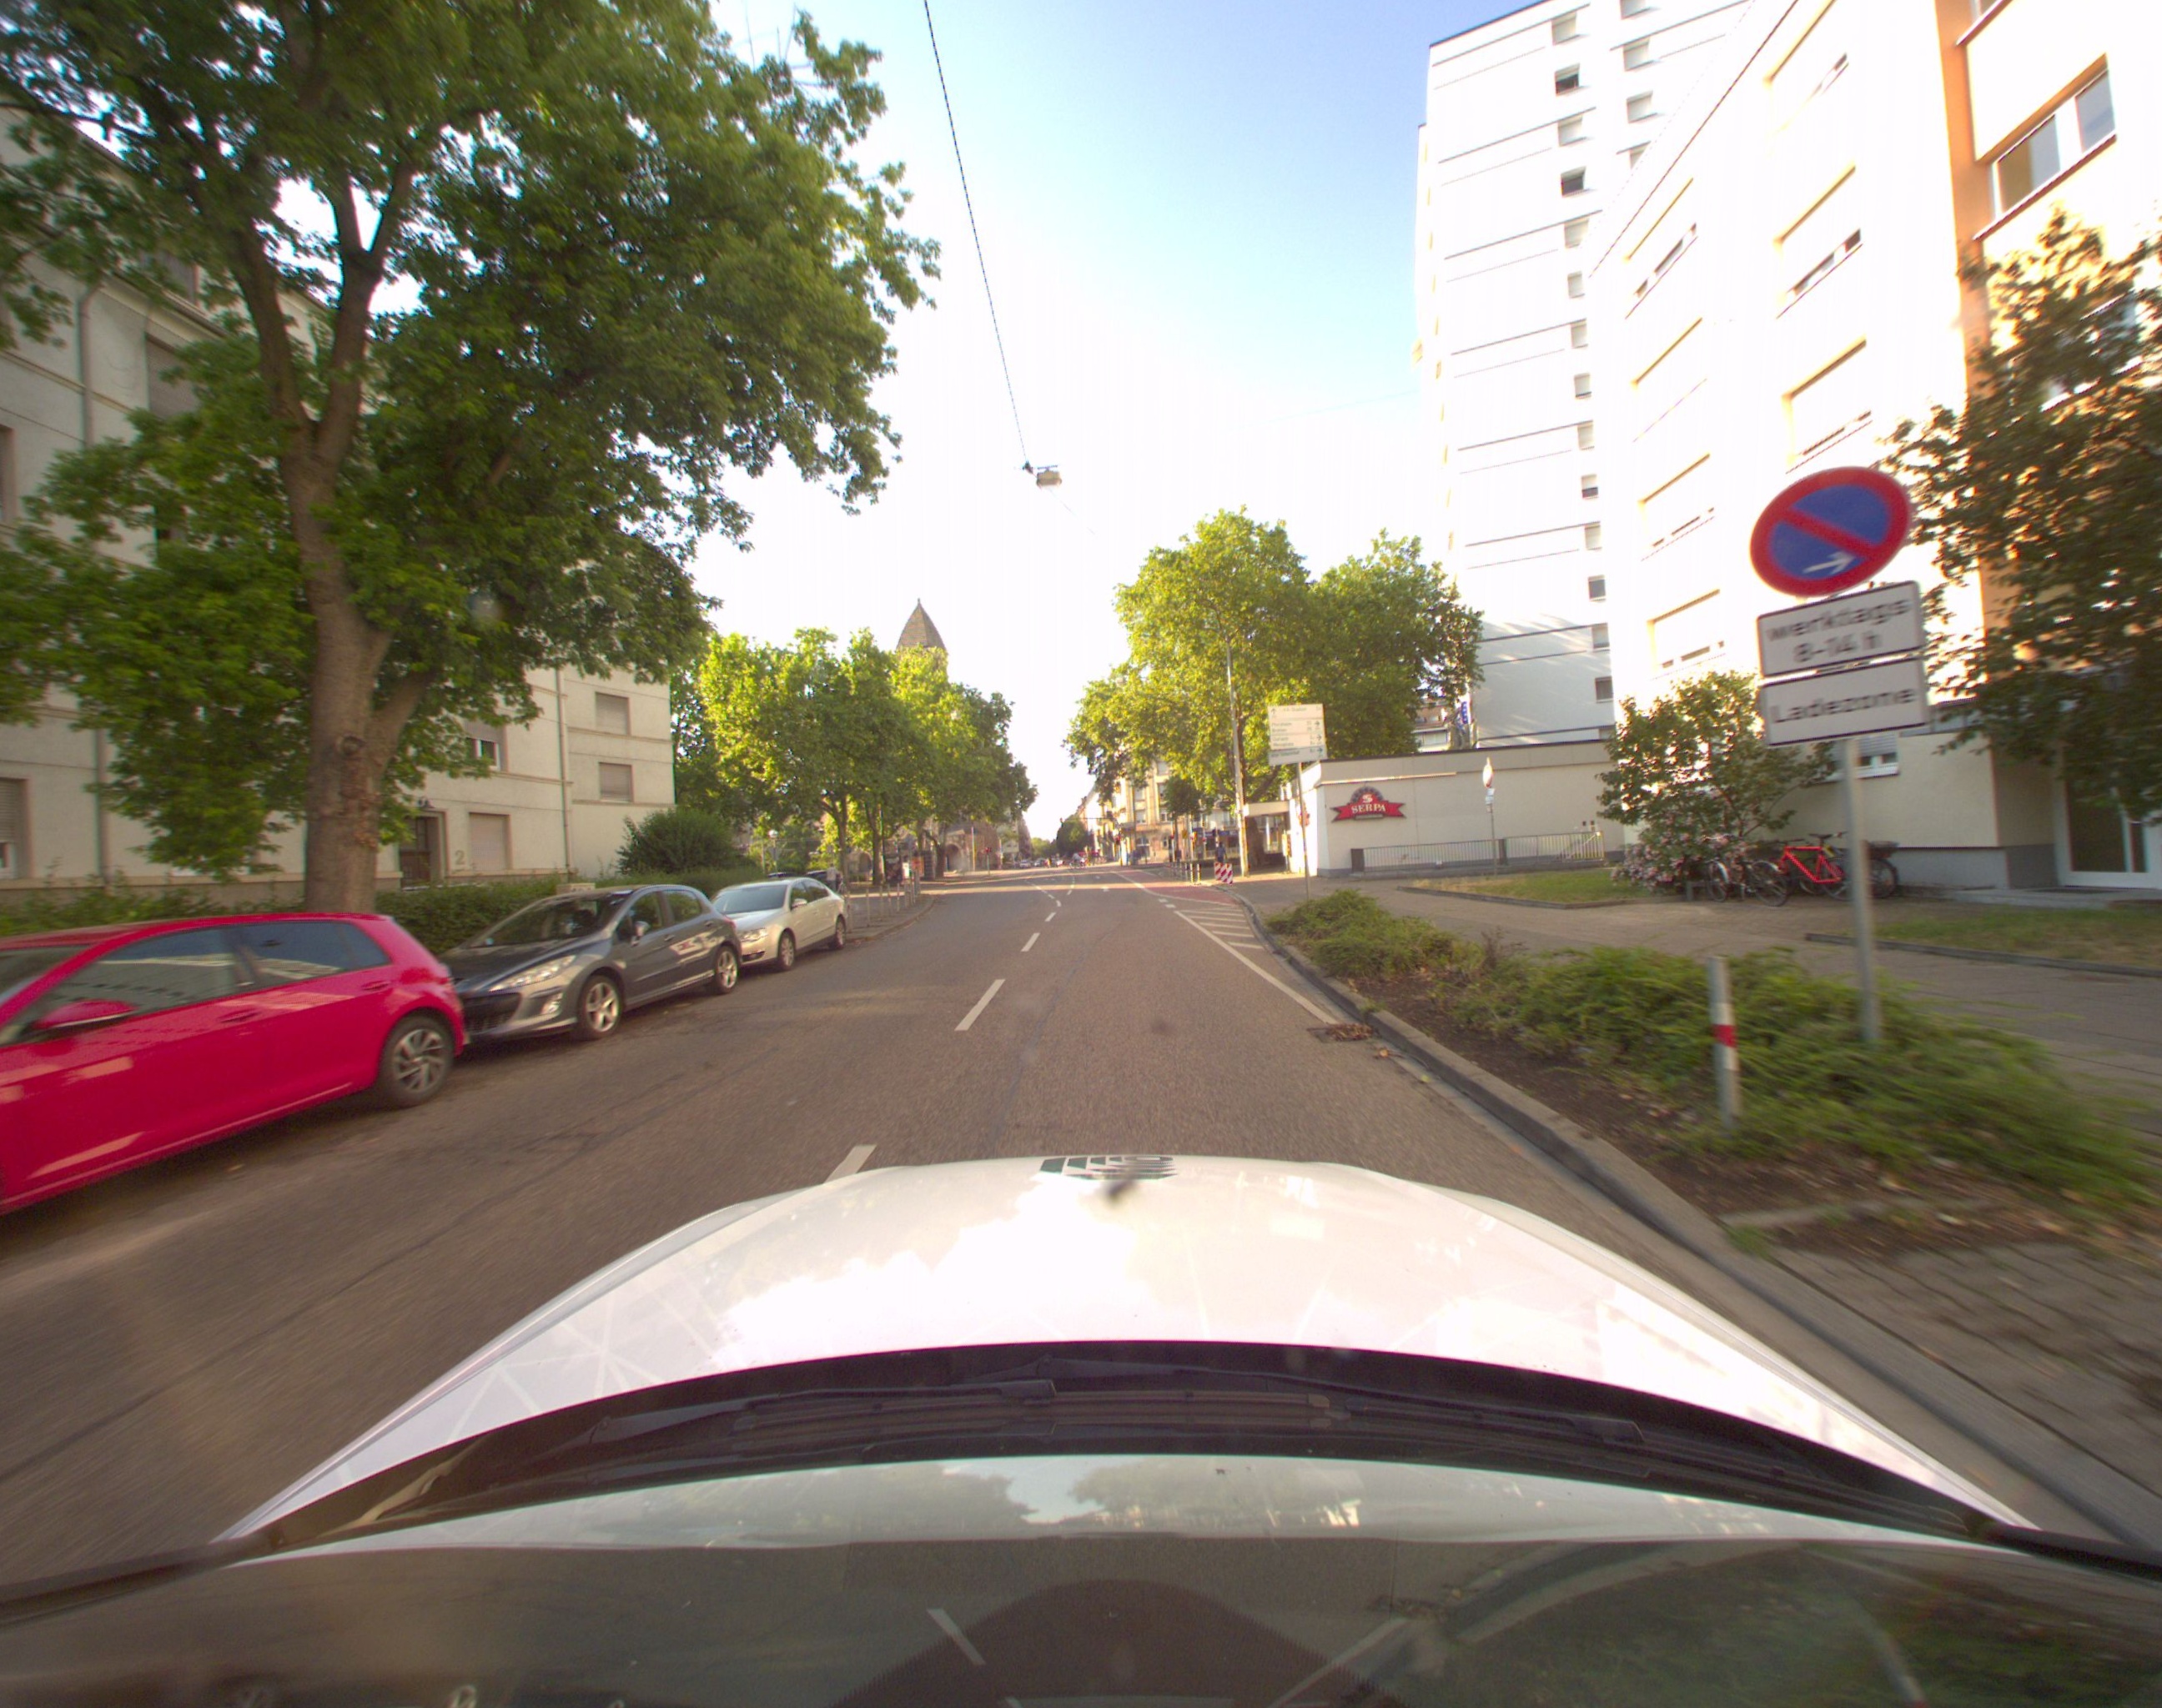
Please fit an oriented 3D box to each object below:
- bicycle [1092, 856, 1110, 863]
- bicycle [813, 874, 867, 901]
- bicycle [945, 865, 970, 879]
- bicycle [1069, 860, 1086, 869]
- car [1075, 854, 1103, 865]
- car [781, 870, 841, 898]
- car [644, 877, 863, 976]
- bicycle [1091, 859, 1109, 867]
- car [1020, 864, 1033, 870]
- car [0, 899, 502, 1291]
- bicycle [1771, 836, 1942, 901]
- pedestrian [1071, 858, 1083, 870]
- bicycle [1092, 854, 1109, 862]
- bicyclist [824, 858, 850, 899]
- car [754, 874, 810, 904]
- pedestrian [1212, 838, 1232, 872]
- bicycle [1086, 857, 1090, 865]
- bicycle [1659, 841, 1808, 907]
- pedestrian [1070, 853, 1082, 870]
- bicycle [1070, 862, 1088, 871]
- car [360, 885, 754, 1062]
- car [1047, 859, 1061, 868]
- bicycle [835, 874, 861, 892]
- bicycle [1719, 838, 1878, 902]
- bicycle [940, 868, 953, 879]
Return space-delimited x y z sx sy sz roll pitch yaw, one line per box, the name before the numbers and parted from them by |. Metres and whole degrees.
bicycle | 3.251 0.893 133.465 2.799 1.203 0.516 -2 -1 -6
bicycle | -12.145 1.676 41.045 0.998 1.264 2.499 -3 -2 36
bicycle | -15.020 2.153 98.762 2.824 1.656 0.833 -2 -1 9
bicycle | -0.370 1.123 86.943 1.767 0.982 0.660 -2 -2 27
car | 1.534 0.980 152.413 5.027 2.014 2.142 -1 -2 -38
car | -17.467 1.933 52.884 1.735 1.517 3.668 -4 0 20
car | -5.392 1.123 14.192 1.763 1.352 4.711 -2 -1 1
bicycle | 3.052 1.415 131.981 2.799 1.203 0.509 -2 -1 -6
car | -11.258 2.621 167.172 1.582 1.144 3.398 -2 -1 16
car | -5.534 1.171 4.331 1.864 1.558 4.001 -5 -1 1
bicycle | 12.247 0.187 12.984 0.634 0.925 2.231 -2 1 1
pedestrian | -0.396 1.060 89.230 1.039 1.278 0.796 -2 -2 20
bicycle | 3.170 0.667 134.388 2.799 1.202 0.510 -2 11 -5
bicyclist | -12.265 1.245 40.896 0.964 2.014 0.802 -3 -2 36
car | -19.976 2.294 54.617 1.864 1.617 4.007 -3 2 5
pedestrian | 8.699 0.090 50.309 0.824 2.013 1.153 -7 -1 1
bicycle | 1.166 1.128 134.467 0.506 1.203 2.091 -2 -1 0
bicycle | 10.344 0.275 13.028 0.634 0.925 2.231 -2 1 1
pedestrian | -0.527 0.798 87.020 0.982 1.708 0.632 -2 -2 27
bicycle | -0.229 1.362 89.190 1.766 0.895 0.754 -4 0 20
car | -5.455 1.131 9.246 1.697 1.440 4.130 -2 -1 1
car | -4.653 1.676 141.211 1.575 1.462 3.196 -2 -1 15
bicycle | -15.837 1.967 55.424 0.715 1.145 3.292 -2 -1 1
bicycle | 11.444 0.211 13.118 0.634 0.925 2.231 -2 1 1
bicycle | -22.099 3.216 134.088 1.281 1.750 4.002 -2 -1 3
